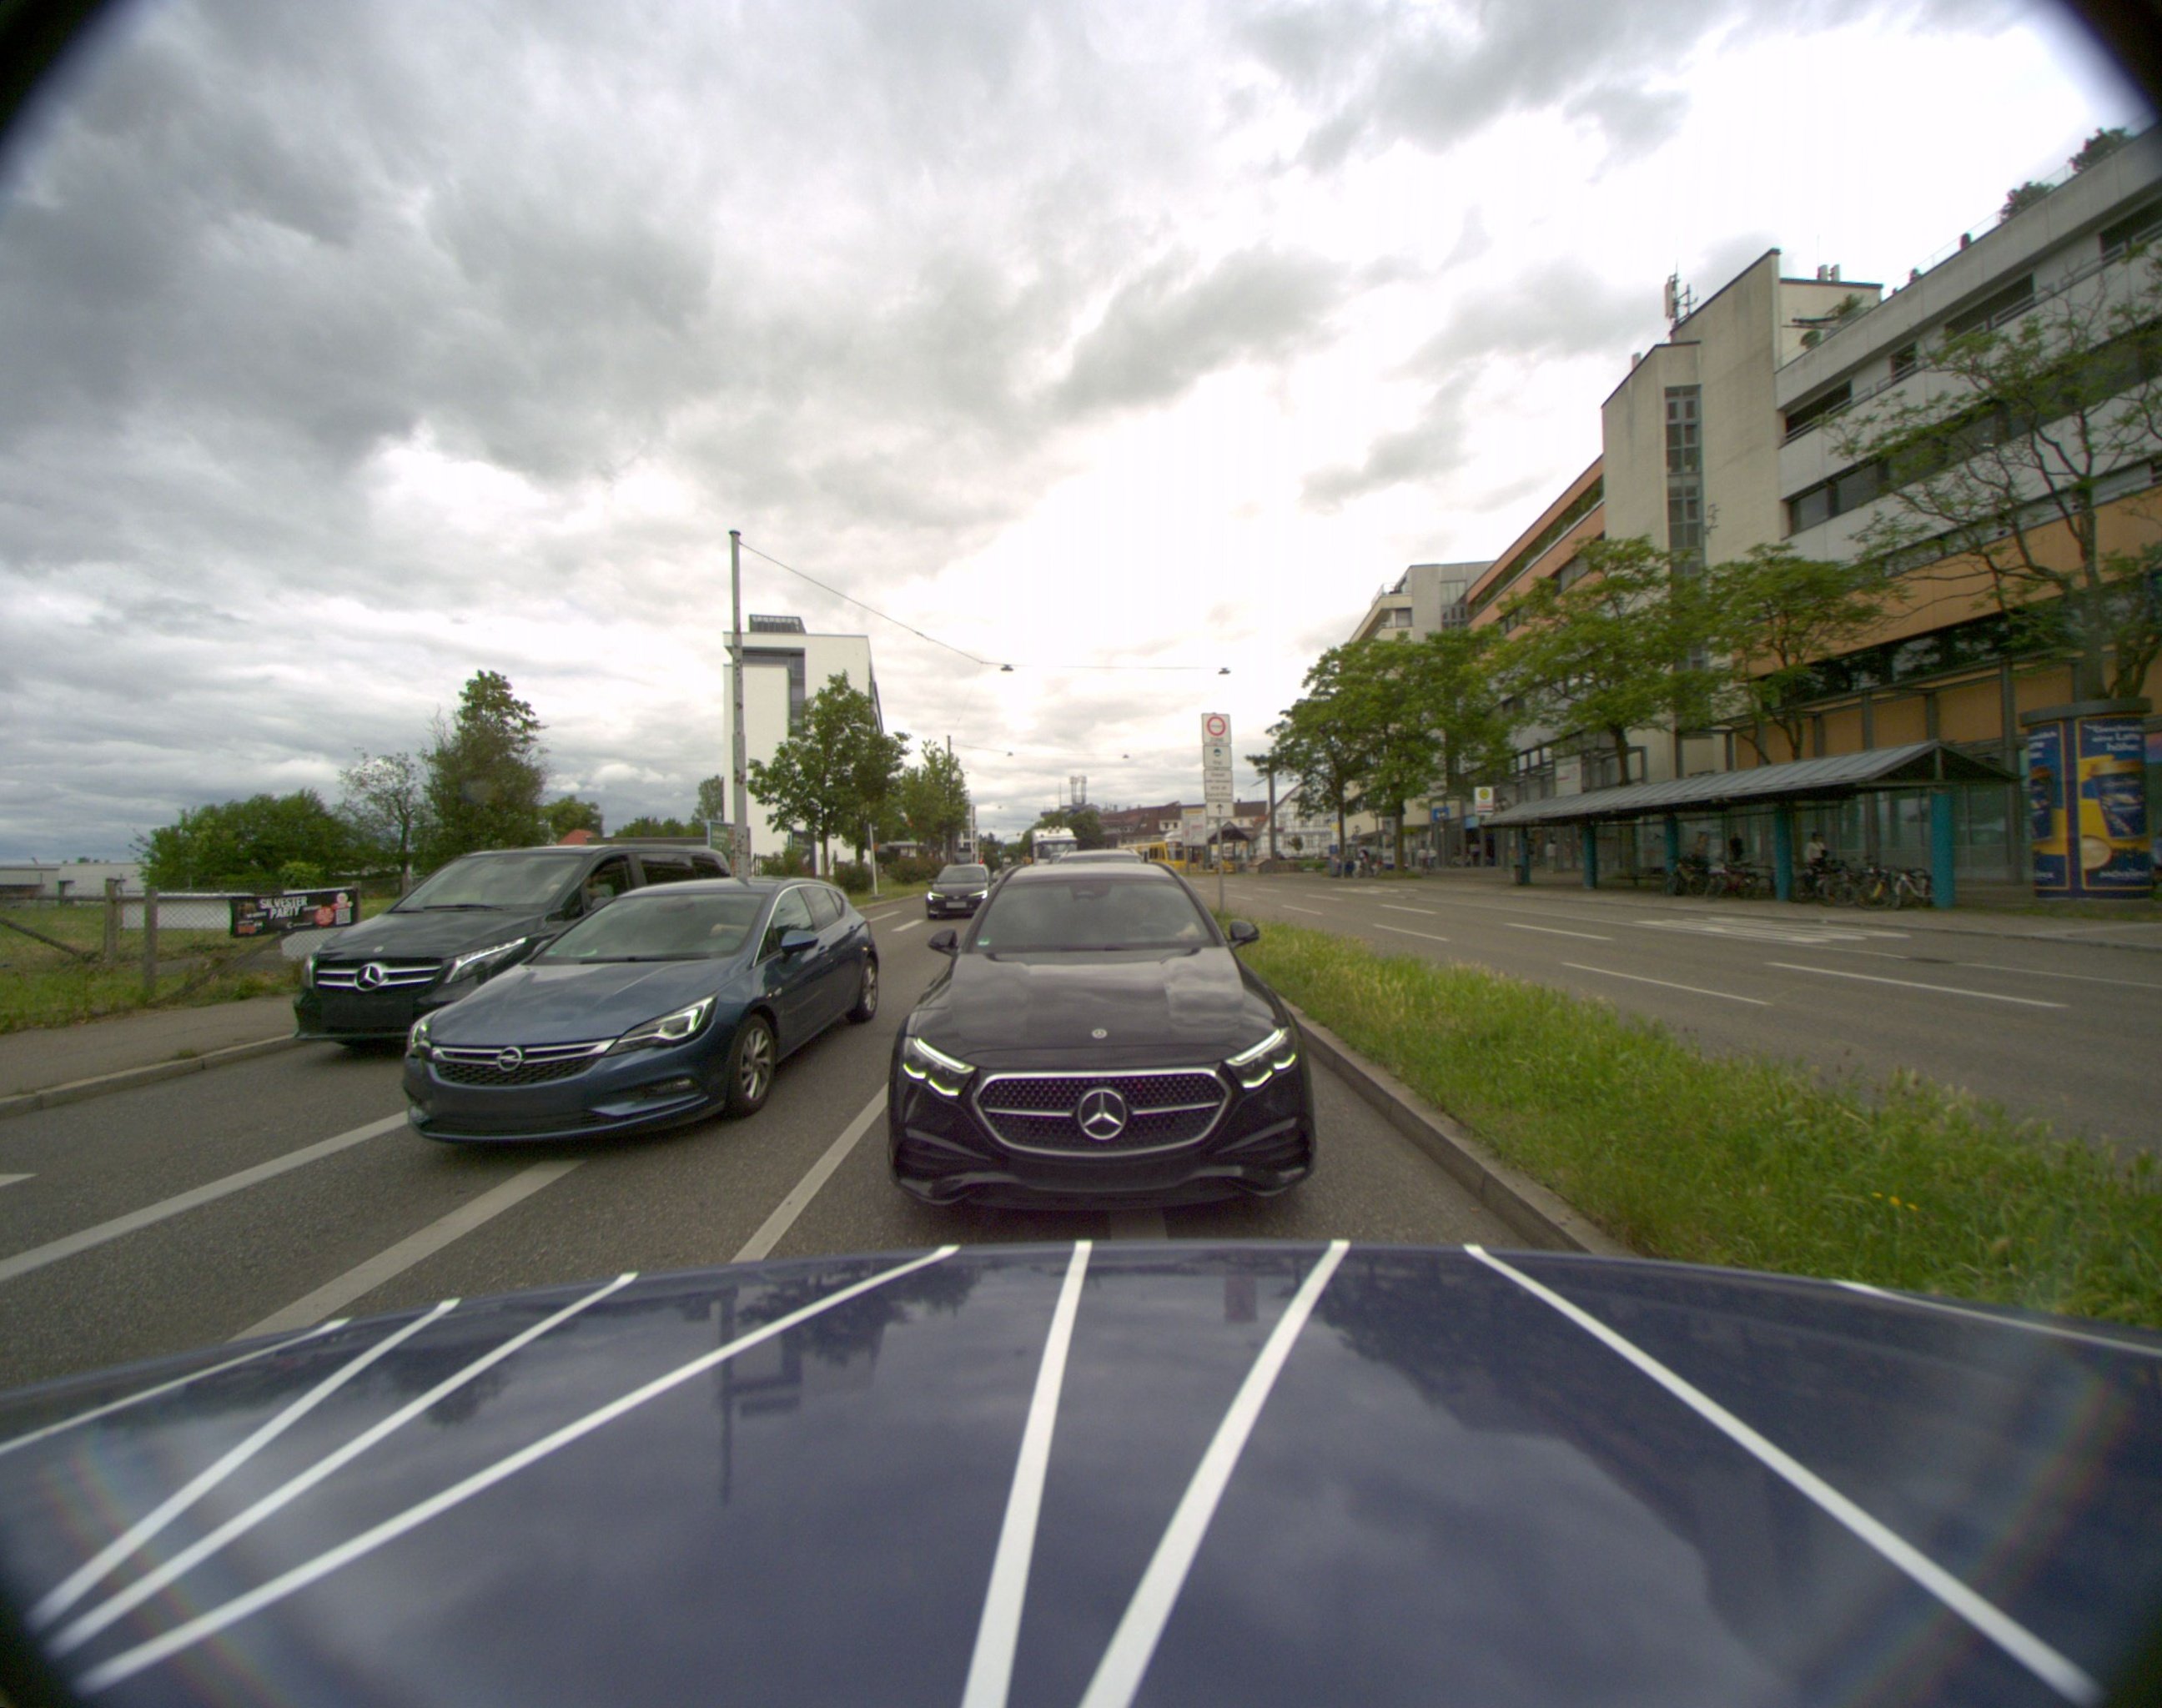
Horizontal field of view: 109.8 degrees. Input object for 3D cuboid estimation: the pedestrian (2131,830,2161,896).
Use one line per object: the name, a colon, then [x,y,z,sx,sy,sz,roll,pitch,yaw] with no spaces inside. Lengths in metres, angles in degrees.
pedestrian: [24.626,0.193,17.308,0.569,1.494,0.622,-1,1,-9]

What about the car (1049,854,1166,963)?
car: [0.393,0.824,13.481,1.734,1.601,4.000,-2,0,0]

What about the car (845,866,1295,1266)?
car: [-0.052,0.887,5.189,1.793,1.507,4.249,-1,0,0]

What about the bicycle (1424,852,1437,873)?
bicycle: [19.487,0.473,42.384,0.593,1.119,2.040,0,1,24]

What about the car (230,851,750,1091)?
car: [-5.735,0.924,8.415,1.954,1.829,4.709,-3,0,1]

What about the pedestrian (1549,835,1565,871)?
pedestrian: [24.099,-0.043,38.488,0.648,1.799,0.761,0,1,34]

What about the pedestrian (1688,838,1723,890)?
pedestrian: [21.578,0.336,26.251,0.531,1.776,0.770,-1,1,-7]

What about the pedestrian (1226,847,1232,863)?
pedestrian: [19.160,0.111,98.284,0.742,2.002,0.939,-1,1,11]

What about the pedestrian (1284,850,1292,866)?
pedestrian: [20.346,0.367,74.732,0.577,1.533,0.583,-1,1,-8]

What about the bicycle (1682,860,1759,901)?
bicycle: [18.284,0.748,21.742,1.735,1.035,0.549,-4,1,-2]

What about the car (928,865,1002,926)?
car: [-3.210,1.101,21.694,1.665,1.448,3.920,-2,0,-3]

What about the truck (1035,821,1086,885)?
truck: [-1.279,-0.058,42.664,2.490,3.258,7.428,-1,0,-4]

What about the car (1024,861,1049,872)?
car: [-7.647,2.104,130.099,3.787,1.607,1.849,-3,1,-23]

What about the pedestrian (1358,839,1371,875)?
pedestrian: [18.463,0.204,49.473,0.590,2.294,0.608,-1,1,-2]

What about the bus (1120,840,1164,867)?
bus: [6.935,-0.034,87.950,2.556,2.966,9.790,-1,0,-11]

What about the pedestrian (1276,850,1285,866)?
pedestrian: [19.578,0.395,74.573,0.577,1.533,0.583,-1,1,-8]

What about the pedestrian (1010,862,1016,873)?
pedestrian: [-13.483,2.694,151.538,0.975,2.002,0.991,-2,1,-13]

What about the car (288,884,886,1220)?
car: [-2.914,1.044,5.701,1.826,1.402,4.000,-2,0,0]

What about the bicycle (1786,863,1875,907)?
bicycle: [19.025,0.779,19.308,1.735,1.035,0.549,-2,1,-2]

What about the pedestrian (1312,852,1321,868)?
pedestrian: [22.267,0.553,71.750,0.577,1.533,0.583,-1,1,-8]

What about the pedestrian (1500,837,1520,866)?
pedestrian: [25.356,-0.162,44.961,0.765,1.673,0.752,-1,1,1]

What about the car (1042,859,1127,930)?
car: [0.045,0.914,18.908,1.865,1.520,3.999,-1,0,-1]

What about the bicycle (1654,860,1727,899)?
bicycle: [18.205,0.752,22.702,1.735,1.035,0.549,-3,1,-2]

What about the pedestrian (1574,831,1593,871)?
pedestrian: [25.455,-0.146,38.478,0.566,2.002,0.611,-1,1,6]

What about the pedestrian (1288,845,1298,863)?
pedestrian: [23.890,0.032,85.561,0.879,2.002,1.010,-1,1,6]

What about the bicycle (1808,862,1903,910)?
bicycle: [18.626,0.756,18.283,1.735,1.035,0.549,-3,1,-2]

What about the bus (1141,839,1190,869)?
bus: [8.699,0.009,79.014,2.556,2.966,8.498,-1,0,-11]

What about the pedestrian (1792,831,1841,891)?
pedestrian: [20.938,0.197,21.633,0.678,1.640,0.721,-2,1,-3]

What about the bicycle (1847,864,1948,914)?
bicycle: [18.685,0.789,17.397,1.735,1.035,0.549,-2,1,-2]

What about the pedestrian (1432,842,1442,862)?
pedestrian: [25.886,-0.132,55.293,0.555,1.485,0.454,-1,1,8]

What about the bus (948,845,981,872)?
bus: [-12.816,0.394,82.726,2.969,2.616,12.137,-2,1,-11]

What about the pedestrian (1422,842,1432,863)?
pedestrian: [25.243,-0.109,55.453,0.555,1.485,0.454,-1,1,8]

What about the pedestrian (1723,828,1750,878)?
pedestrian: [26.109,-0.039,30.268,0.566,2.002,0.611,-1,1,6]

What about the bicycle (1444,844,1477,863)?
bicycle: [27.757,-0.022,55.551,2.138,1.358,0.620,-2,1,26]

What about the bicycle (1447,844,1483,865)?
bicycle: [26.994,0.036,53.399,2.139,1.367,0.620,-2,1,18]

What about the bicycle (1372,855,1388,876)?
bicycle: [16.402,0.627,41.645,0.593,1.071,2.041,0,1,29]

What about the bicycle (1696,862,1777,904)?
bicycle: [17.948,0.794,20.809,1.735,1.035,0.549,-3,1,-2]

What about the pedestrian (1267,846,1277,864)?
pedestrian: [21.897,0.090,87.182,0.879,2.002,1.010,-1,1,6]

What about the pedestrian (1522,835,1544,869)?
pedestrian: [24.718,-0.107,41.584,0.765,1.835,0.752,-1,1,1]

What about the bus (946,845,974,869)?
bus: [-15.222,0.349,95.049,2.969,2.616,12.911,-2,1,-11]

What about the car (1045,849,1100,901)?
car: [-0.366,0.746,28.343,1.865,1.773,3.999,-1,-1,-2]

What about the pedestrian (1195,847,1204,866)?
pedestrian: [12.218,0.255,78.294,0.637,2.002,0.667,-1,1,-20]

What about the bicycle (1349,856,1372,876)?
bicycle: [15.479,0.659,42.016,0.593,1.071,2.041,0,1,38]
